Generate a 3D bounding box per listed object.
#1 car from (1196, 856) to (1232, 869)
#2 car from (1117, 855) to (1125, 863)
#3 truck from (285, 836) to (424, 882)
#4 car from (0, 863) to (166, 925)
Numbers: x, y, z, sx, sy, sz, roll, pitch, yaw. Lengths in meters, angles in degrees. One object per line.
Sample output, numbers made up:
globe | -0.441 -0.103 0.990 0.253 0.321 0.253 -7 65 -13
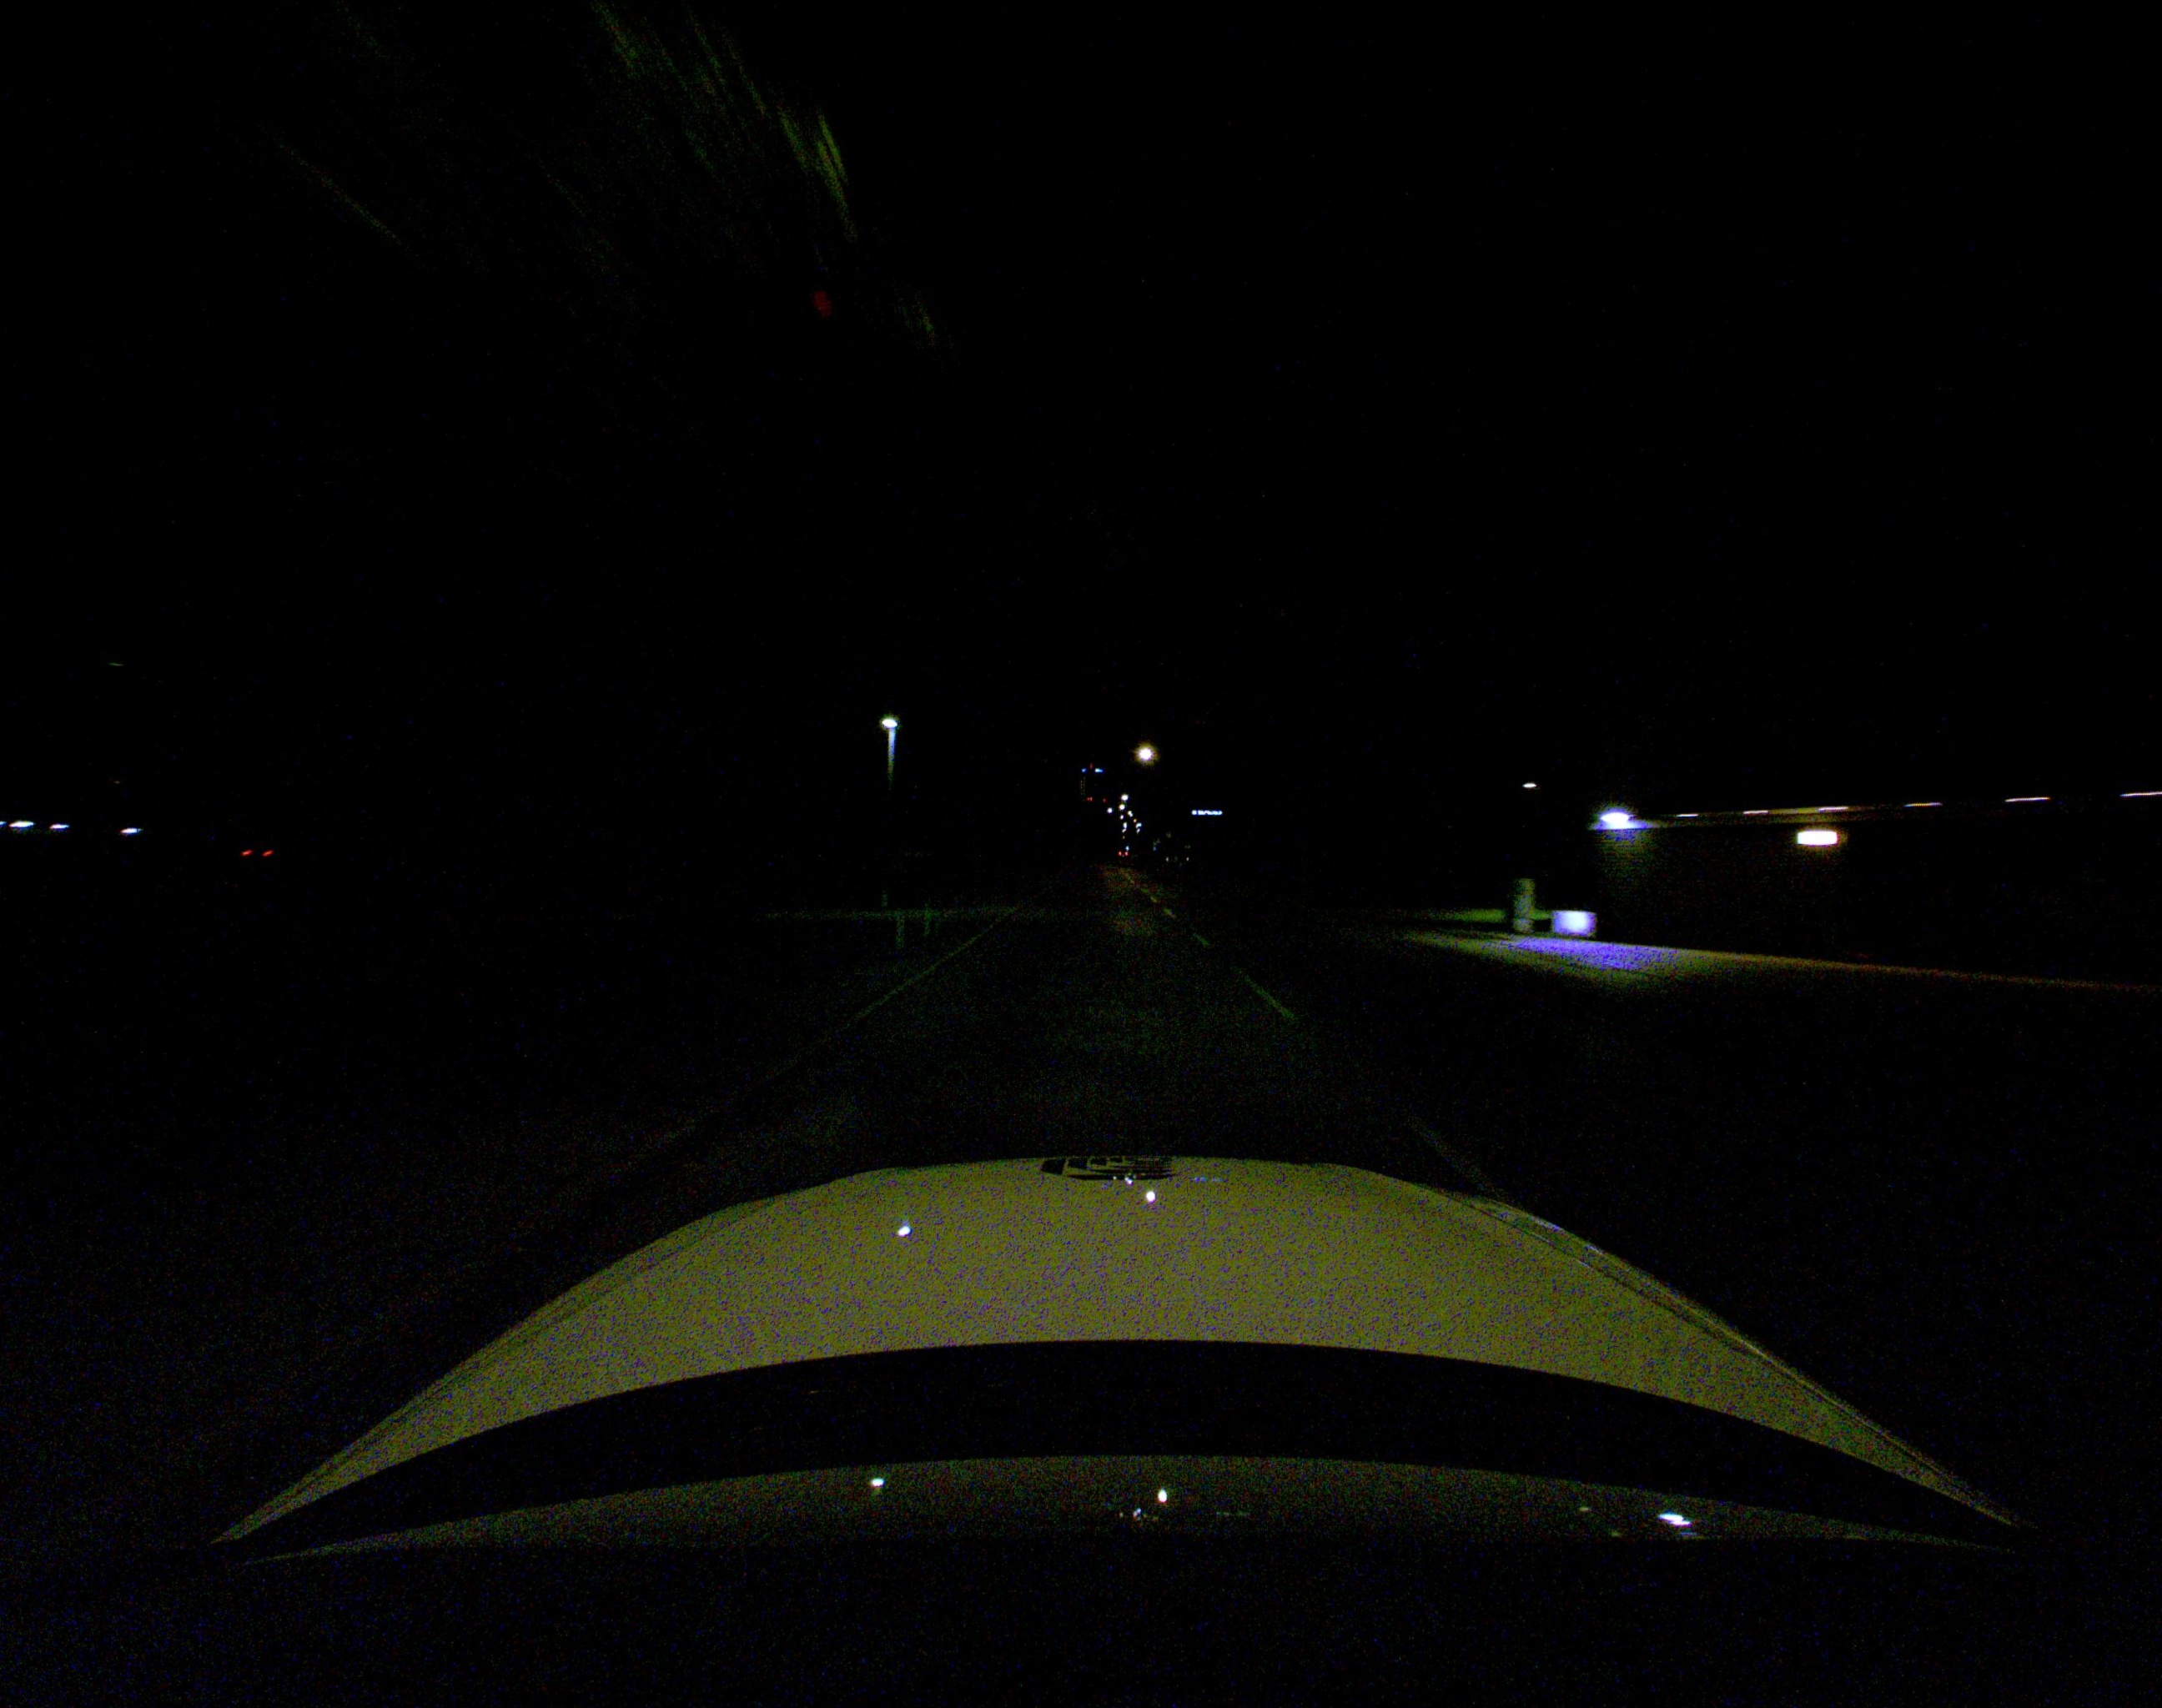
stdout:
car | 15.610 1.000 95.750 3.827 1.544 1.808 1 0 -2
car | 9.785 1.176 197.771 1.917 1.854 4.001 1 -2 2
truck | -50.138 0.409 56.479 6.825 2.845 1.979 3 -2 -35
car | -25.930 0.974 21.176 1.770 1.445 3.985 2 -1 -32
